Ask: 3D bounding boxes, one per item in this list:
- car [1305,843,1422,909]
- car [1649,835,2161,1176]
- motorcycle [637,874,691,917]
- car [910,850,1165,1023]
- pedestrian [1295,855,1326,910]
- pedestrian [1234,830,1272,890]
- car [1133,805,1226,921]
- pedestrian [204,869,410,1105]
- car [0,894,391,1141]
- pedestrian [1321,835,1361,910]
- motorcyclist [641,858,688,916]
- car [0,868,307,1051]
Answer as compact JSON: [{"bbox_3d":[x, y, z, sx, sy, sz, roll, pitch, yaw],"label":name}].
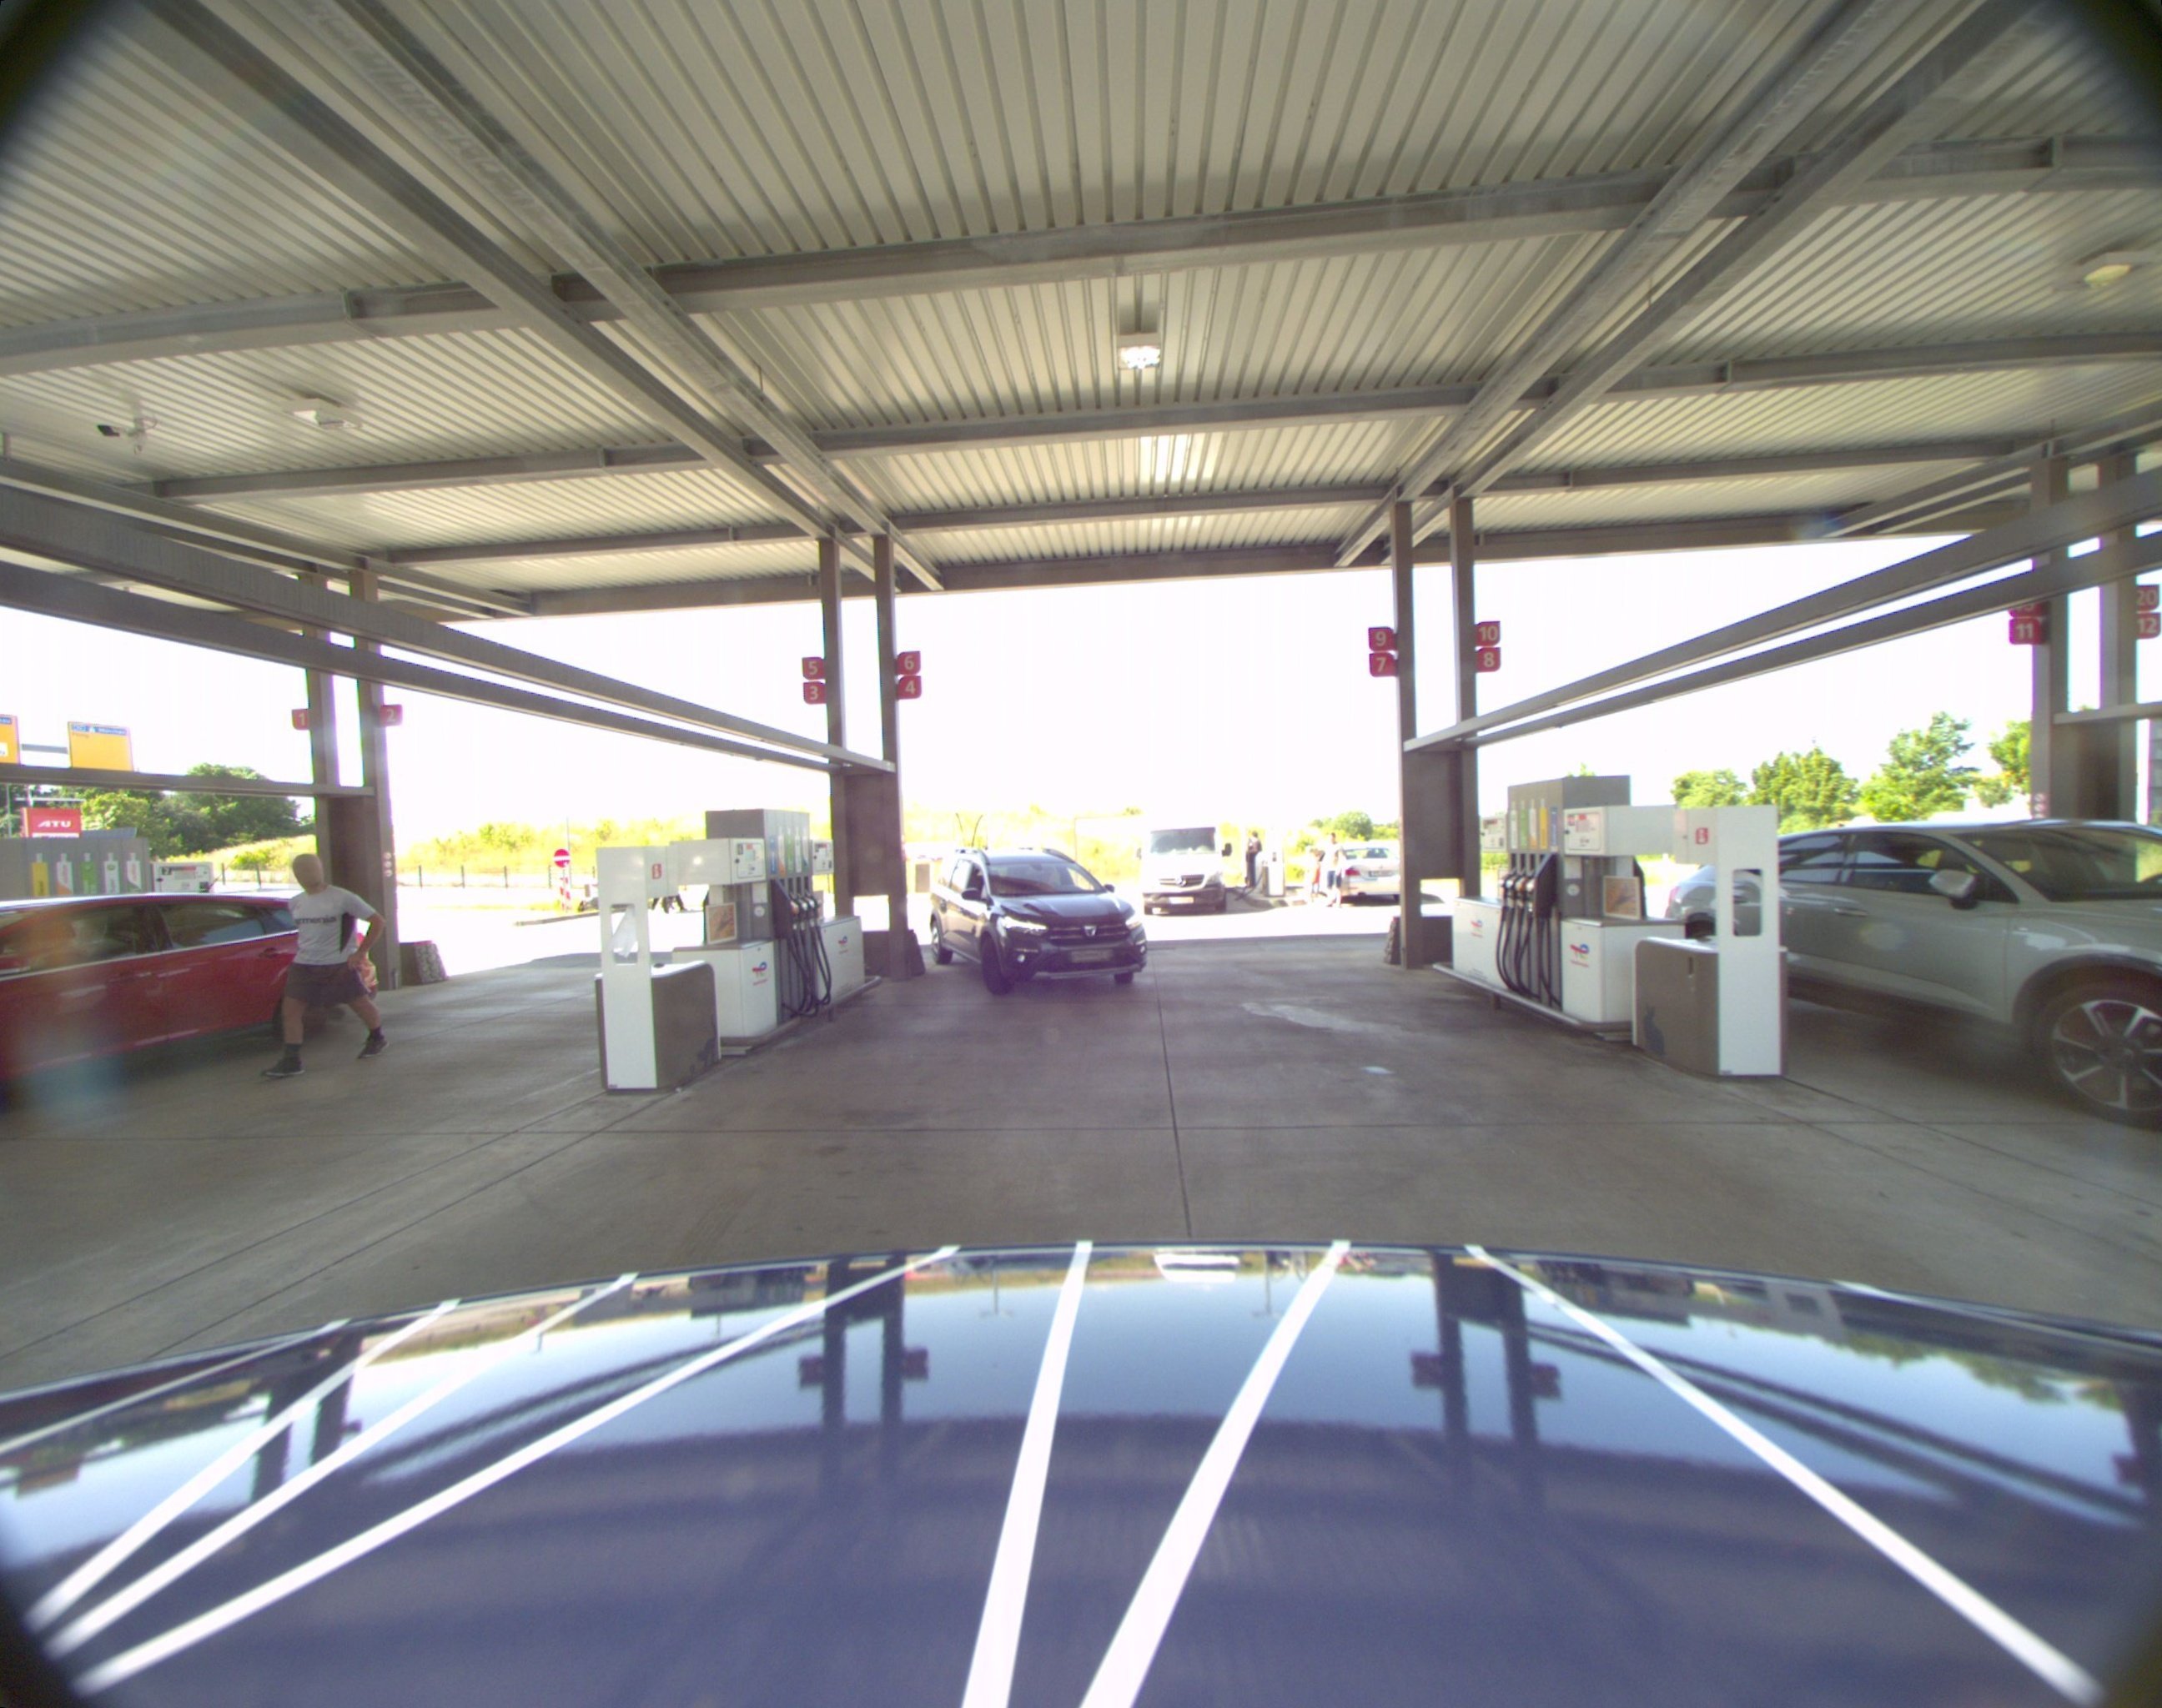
[{"bbox_3d":[7.211,0.498,19.859,1.791,1.420,4.322,-2,2,5],"label":"car"},{"bbox_3d":[5.957,0.676,4.776,1.784,1.532,4.326,-2,1,5],"label":"car"},{"bbox_3d":[-12.609,1.226,23.076,1.047,1.100,2.411,-2,2,-20],"label":"motorcycle"},{"bbox_3d":[-0.859,0.813,9.862,1.746,1.635,4.623,-2,1,-24],"label":"car"},{"bbox_3d":[5.564,0.684,18.451,0.577,1.299,0.669,-2,1,7],"label":"pedestrian"},{"bbox_3d":[5.165,0.190,22.798,0.843,1.759,0.710,-1,1,37],"label":"pedestrian"},{"bbox_3d":[2.859,0.032,20.434,1.997,2.557,7.033,-1,3,11],"label":"car"},{"bbox_3d":[-6.149,0.989,6.108,0.703,1.693,0.927,-2,1,-12],"label":"pedestrian"},{"bbox_3d":[-7.932,1.174,5.534,1.702,1.460,4.233,-2,1,4],"label":"car"},{"bbox_3d":[6.170,0.430,18.062,0.708,1.739,0.845,-2,1,7],"label":"pedestrian"},{"bbox_3d":[-12.598,0.967,22.997,1.035,1.678,1.097,-2,1,-20],"label":"motorcyclist"},{"bbox_3d":[-12.379,1.128,9.118,2.035,1.840,4.792,-1,0,-13],"label":"car"}]
